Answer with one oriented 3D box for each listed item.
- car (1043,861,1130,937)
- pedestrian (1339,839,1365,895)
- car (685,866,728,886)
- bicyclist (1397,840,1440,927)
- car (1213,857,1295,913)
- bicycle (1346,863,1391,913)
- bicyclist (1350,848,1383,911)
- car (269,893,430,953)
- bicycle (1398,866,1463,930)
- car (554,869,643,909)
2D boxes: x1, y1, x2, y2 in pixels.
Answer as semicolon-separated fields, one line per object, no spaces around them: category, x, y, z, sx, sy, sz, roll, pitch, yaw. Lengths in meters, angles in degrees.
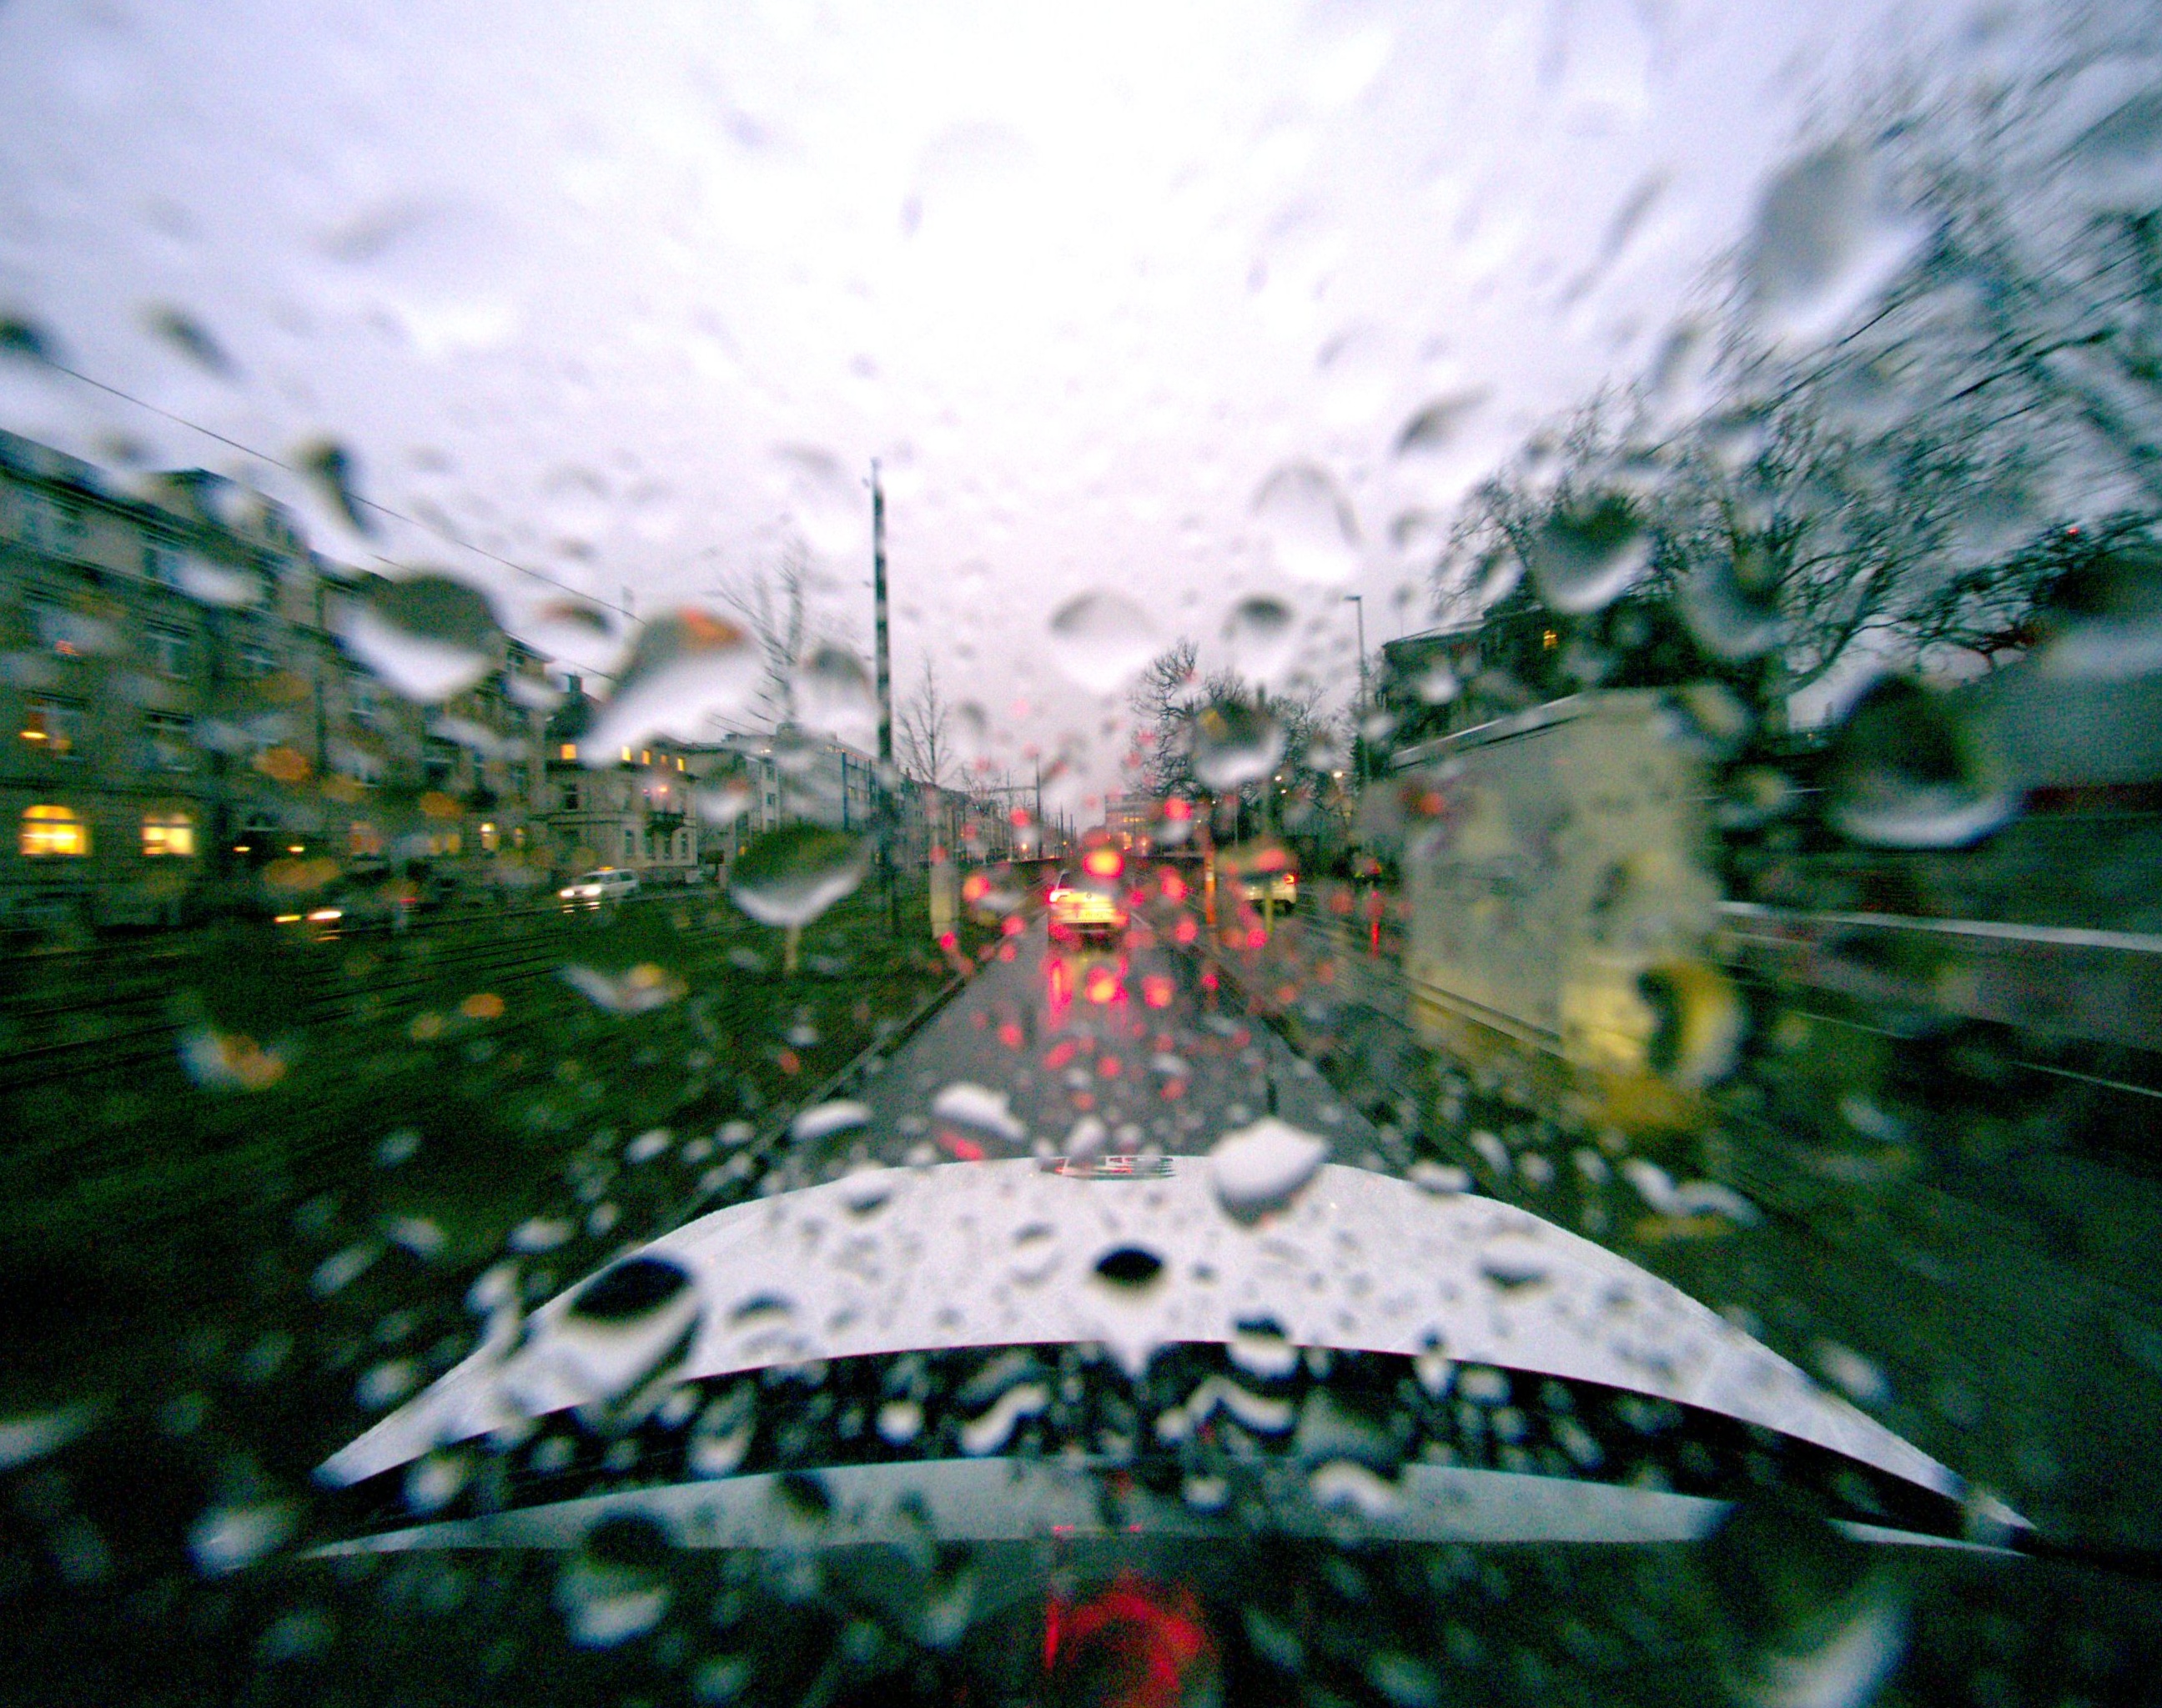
car;0.195;0.889;17.927;1.715;1.479;4.002;0;-1;2
pedestrian;9.433;0.450;28.372;0.530;1.880;0.900;-2;0;-1
car;-31.414;1.832;68.369;1.801;1.436;3.925;-2;0;-1
bicyclist;7.100;0.605;17.139;0.498;1.767;0.837;-2;0;-1
car;4.932;0.848;23.747;1.715;1.479;4.002;0;-1;2
bicycle;7.421;0.859;21.088;0.410;1.185;1.947;-2;0;-1
bicyclist;7.419;0.656;21.184;0.498;1.591;0.837;-2;0;-1
car;-25.843;2.371;29.015;1.988;1.692;4.109;-2;0;-1
bicycle;7.116;0.854;16.683;0.410;1.185;2.028;-2;0;-1
car;-26.577;1.879;45.085;1.988;1.933;4.910;-2;0;-1
